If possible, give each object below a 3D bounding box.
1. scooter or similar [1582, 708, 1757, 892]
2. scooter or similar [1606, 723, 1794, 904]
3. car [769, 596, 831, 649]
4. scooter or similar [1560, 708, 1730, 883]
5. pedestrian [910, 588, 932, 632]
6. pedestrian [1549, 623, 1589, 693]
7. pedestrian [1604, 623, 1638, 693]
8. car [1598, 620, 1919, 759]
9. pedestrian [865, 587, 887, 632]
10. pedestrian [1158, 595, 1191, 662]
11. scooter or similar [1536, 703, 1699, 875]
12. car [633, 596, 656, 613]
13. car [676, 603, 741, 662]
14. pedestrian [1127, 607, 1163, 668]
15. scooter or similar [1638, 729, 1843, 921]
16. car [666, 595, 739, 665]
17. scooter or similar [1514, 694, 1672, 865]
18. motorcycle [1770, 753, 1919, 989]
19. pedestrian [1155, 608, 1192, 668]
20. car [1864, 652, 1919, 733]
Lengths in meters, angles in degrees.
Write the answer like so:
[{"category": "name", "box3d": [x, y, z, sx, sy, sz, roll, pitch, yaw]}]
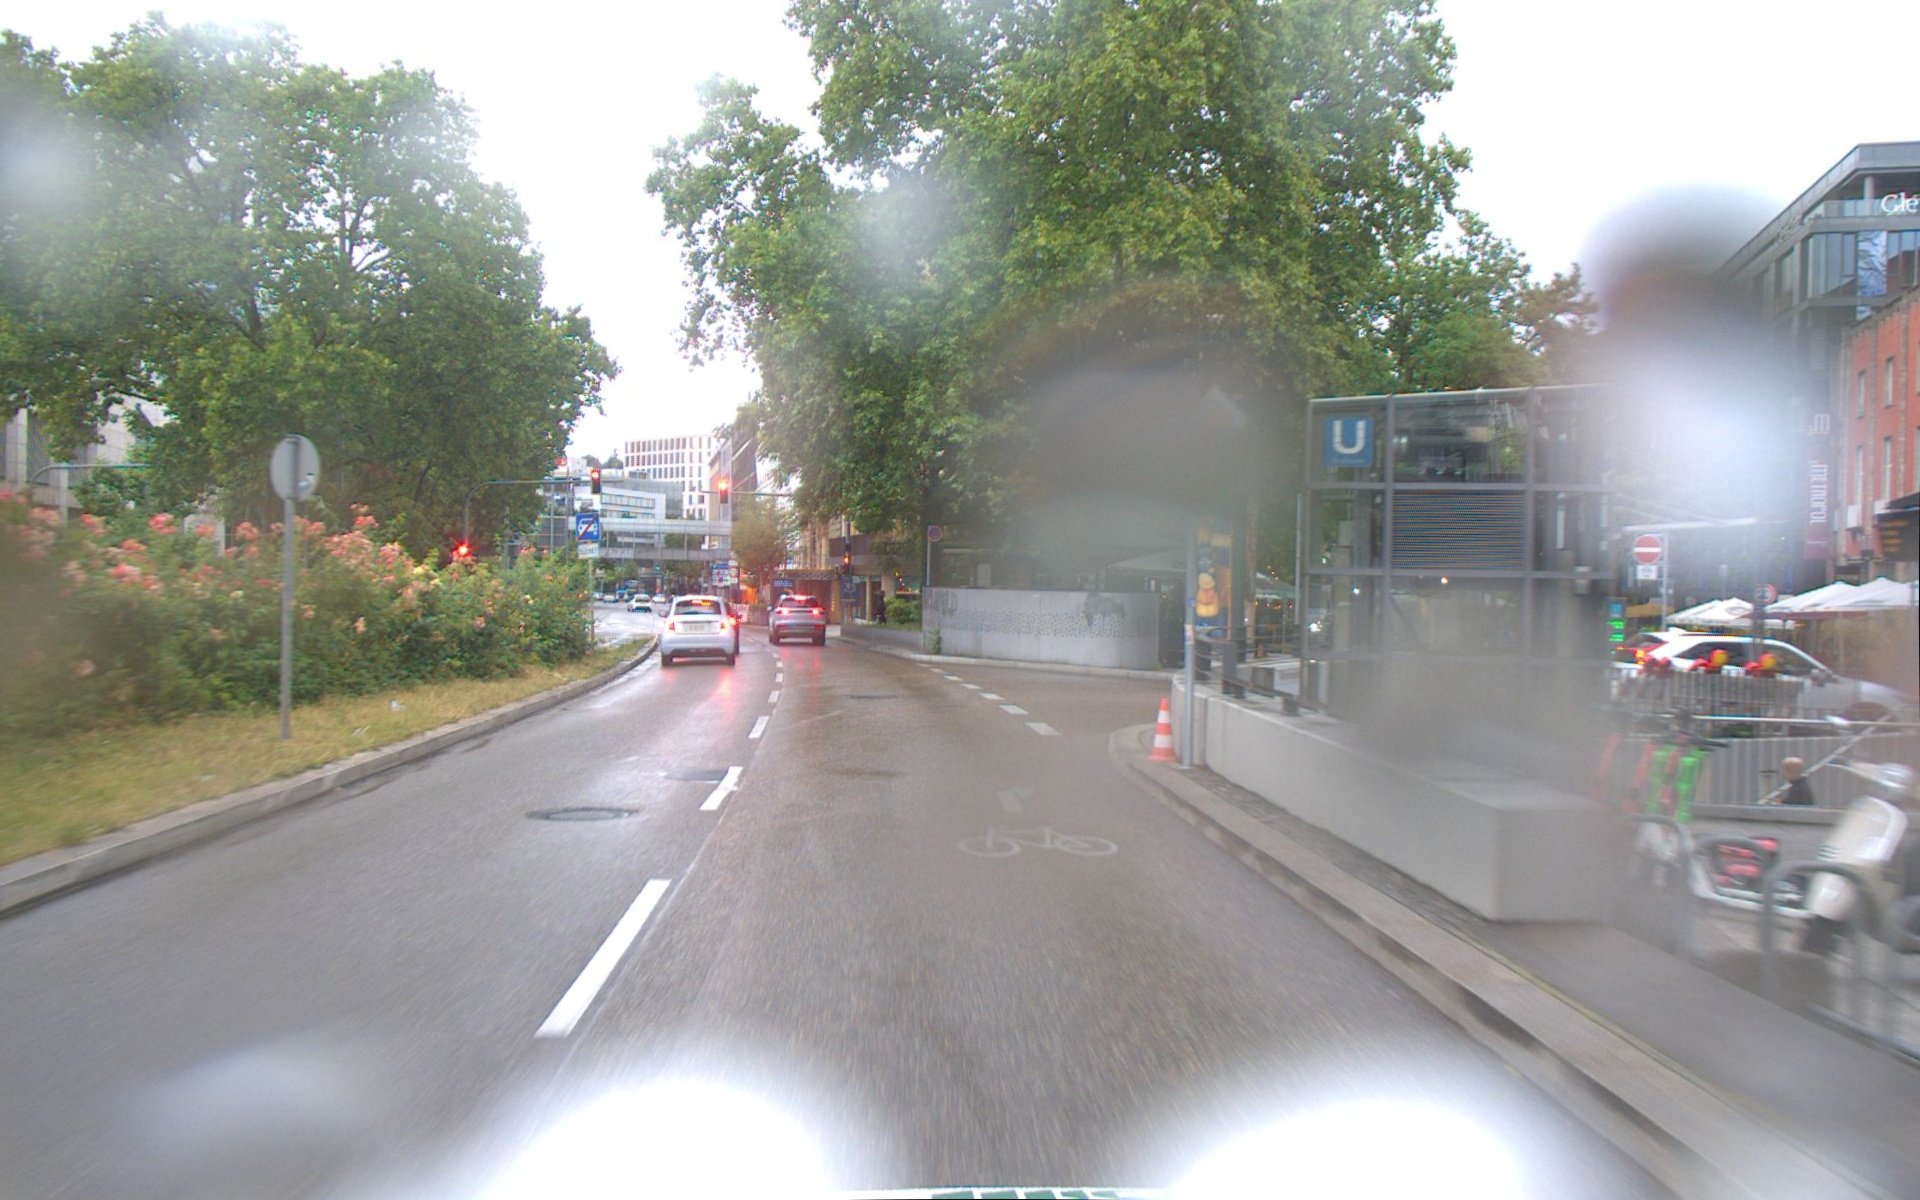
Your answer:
[{"category": "scooter or similar", "box3d": [5.135, 1.444, 11.985, 1.091, 1.258, 0.365, 2, 0, -4]}, {"category": "scooter or similar", "box3d": [5.157, 1.480, 11.557, 1.091, 1.178, 0.443, 2, 0, -4]}, {"category": "car", "box3d": [-5.563, 0.762, 57.157, 1.910, 1.695, 4.337, 2, -1, -8]}, {"category": "scooter or similar", "box3d": [5.120, 1.456, 12.380, 1.091, 1.237, 0.365, 2, 0, -4]}, {"category": "pedestrian", "box3d": [-1.651, 0.431, 69.540, 0.842, 1.811, 0.717, 1, -1, -6]}, {"category": "pedestrian", "box3d": [16.110, 1.520, 43.756, 0.677, 1.811, 0.874, 2, 0, 2]}, {"category": "pedestrian", "box3d": [17.578, 1.542, 43.983, 0.578, 1.811, 0.747, 2, 0, 2]}, {"category": "car", "box3d": [11.860, 1.289, 24.641, 4.010, 1.649, 1.864, 4, -1, 10]}, {"category": "pedestrian", "box3d": [-3.402, 0.377, 66.906, 0.842, 1.811, 0.717, 1, -1, -6]}, {"category": "pedestrian", "box3d": [5.604, 0.745, 43.137, 0.708, 1.731, 0.618, 0, -1, 22]}, {"category": "scooter or similar", "box3d": [5.088, 1.455, 12.808, 1.091, 1.256, 0.365, 2, 0, -4]}, {"category": "car", "box3d": [-28.161, 0.400, 147.517, 1.943, 1.489, 4.333, -1, 0, -11]}, {"category": "car", "box3d": [-6.823, 0.845, 44.983, 1.659, 1.489, 4.122, -1, 0, -8]}, {"category": "pedestrian", "box3d": [4.527, 0.922, 40.517, 0.671, 1.434, 0.904, 3, -1, -4]}, {"category": "scooter or similar", "box3d": [5.191, 1.490, 11.036, 1.091, 1.178, 0.531, 2, 0, -4]}, {"category": "car", "box3d": [-5.911, 0.657, 38.130, 1.560, 1.517, 3.498, -1, 0, -8]}, {"category": "scooter or similar", "box3d": [5.043, 1.424, 13.201, 1.091, 1.291, 0.365, 2, 0, -4]}, {"category": "motorcycle", "box3d": [5.484, 1.489, 9.113, 1.741, 1.178, 0.607, 2, 0, -4]}, {"category": "pedestrian", "box3d": [5.228, 0.932, 40.613, 0.671, 1.434, 0.904, 3, -1, -4]}, {"category": "car", "box3d": [18.848, 1.794, 30.517, 1.591, 1.440, 3.495, 3, 0, -29]}]
